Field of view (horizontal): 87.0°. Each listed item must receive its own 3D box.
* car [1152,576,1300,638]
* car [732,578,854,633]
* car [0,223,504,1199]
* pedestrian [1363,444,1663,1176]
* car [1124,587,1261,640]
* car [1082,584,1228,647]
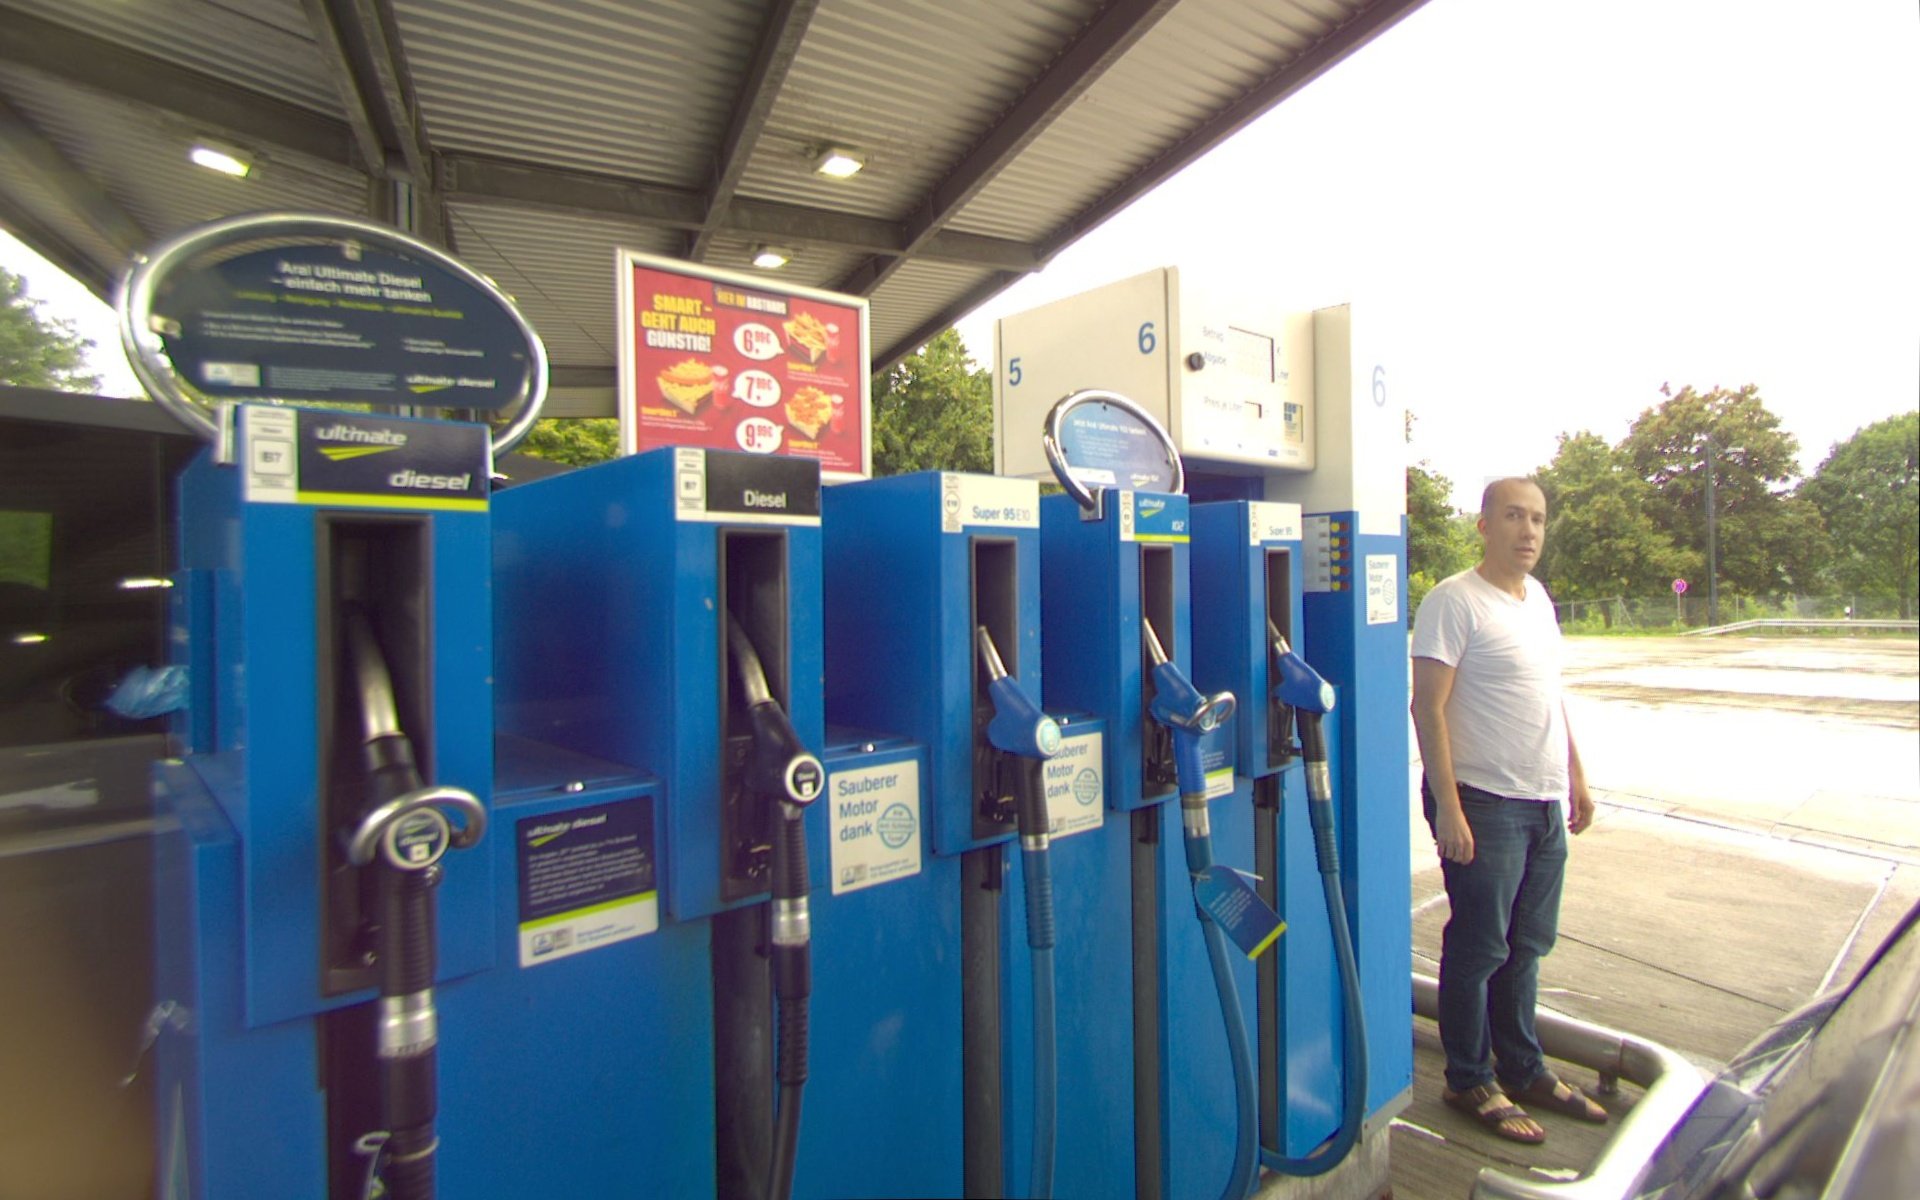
[{"bbox_3d":[8.940,0.204,34.343,4.700,2.011,2.007,0,0,14],"label":"car"},{"bbox_3d":[-5.566,0.147,33.494,1.967,1.683,4.170,0,0,-44],"label":"car"},{"bbox_3d":[-3.013,0.384,1.488,3.930,1.973,1.819,0,0,-41],"label":"car"},{"bbox_3d":[1.579,0.516,2.900,0.621,1.832,0.495,-2,1,-31],"label":"pedestrian"},{"bbox_3d":[7.404,0.401,32.158,4.123,1.576,1.990,1,0,17],"label":"car"},{"bbox_3d":[5.815,0.417,30.023,4.123,1.752,1.990,0,0,17],"label":"car"}]
